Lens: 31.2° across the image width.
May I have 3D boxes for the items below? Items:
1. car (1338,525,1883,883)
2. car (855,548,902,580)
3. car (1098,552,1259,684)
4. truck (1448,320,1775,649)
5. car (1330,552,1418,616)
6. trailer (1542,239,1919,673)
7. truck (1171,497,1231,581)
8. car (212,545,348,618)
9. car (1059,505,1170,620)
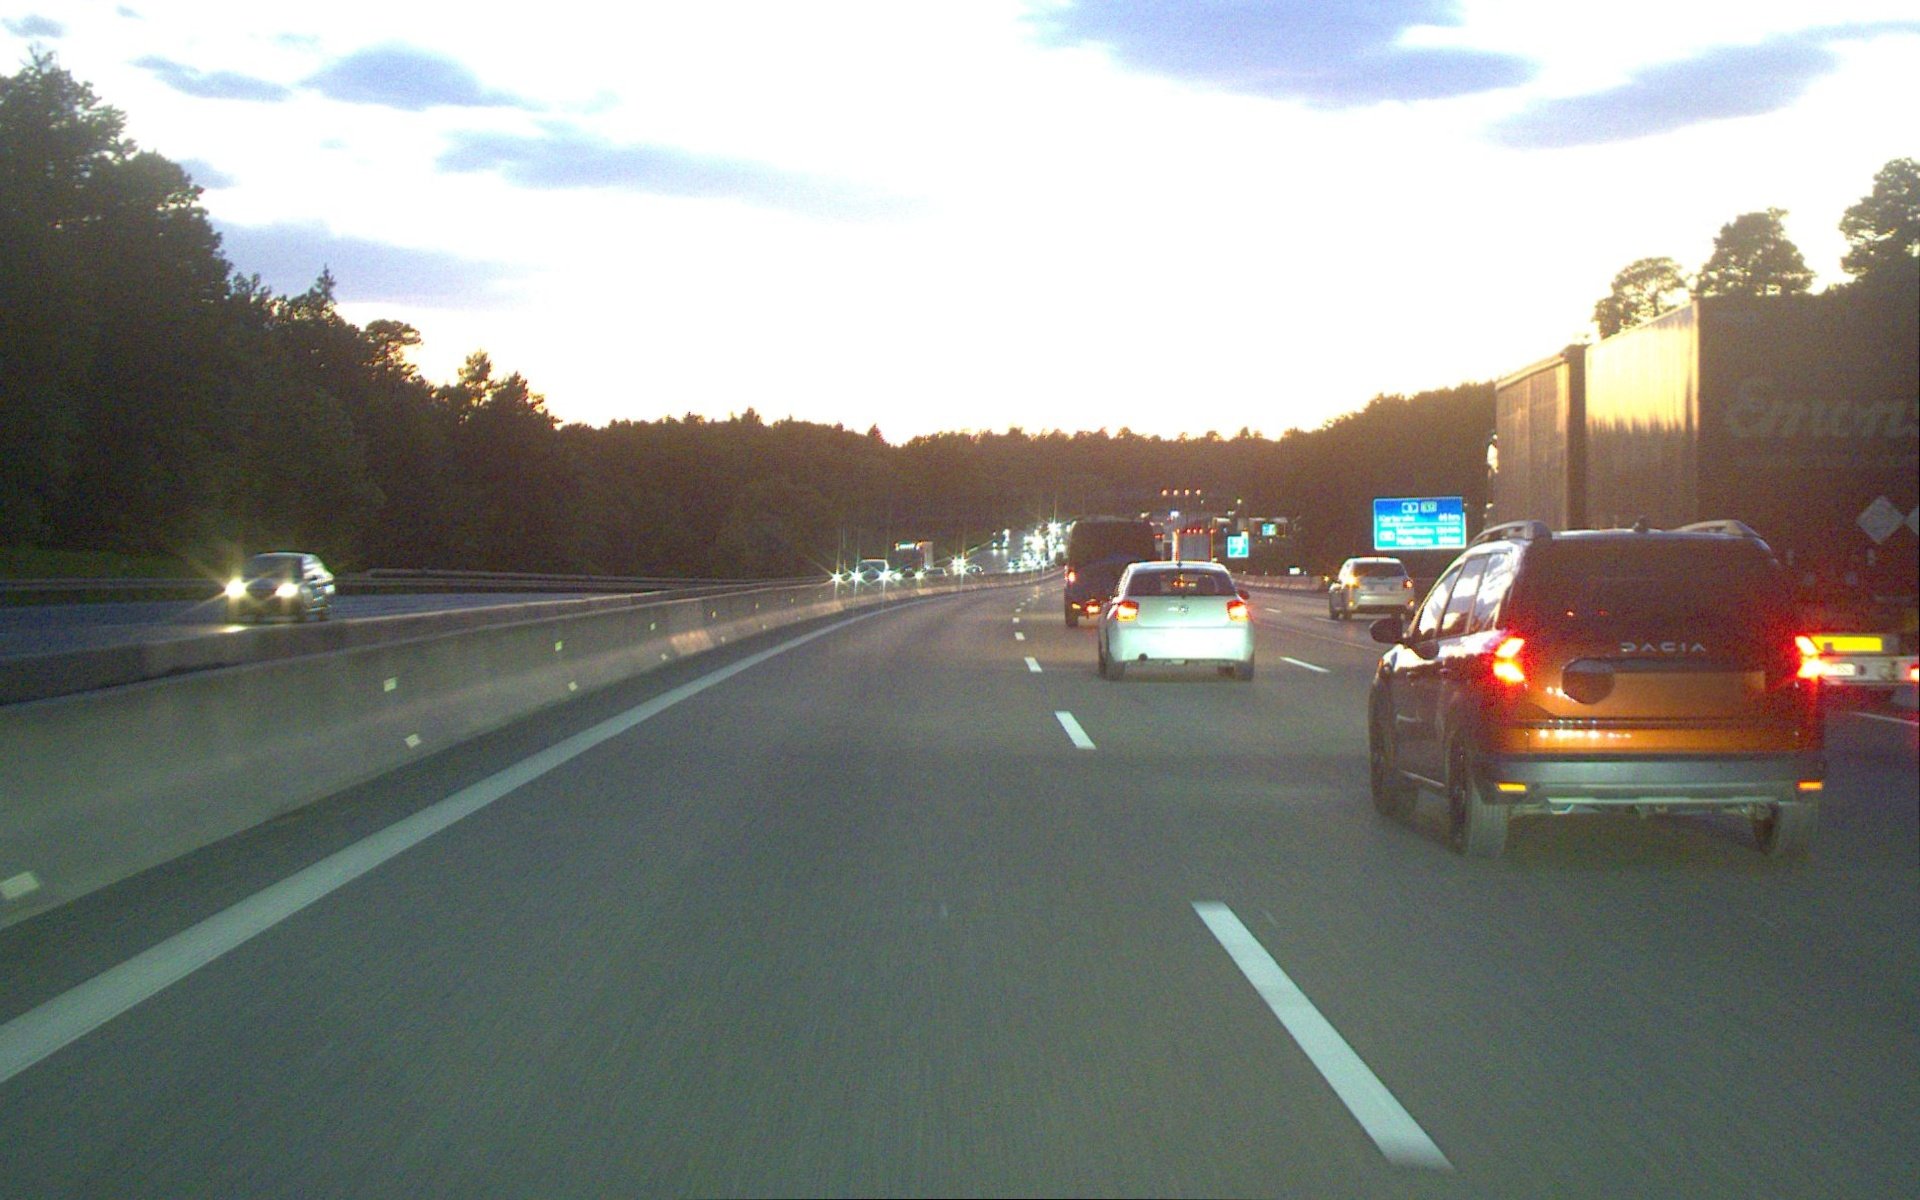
[{"bbox_3d":[3.282,0.426,18.395,1.903,1.638,5.053,0,1,-1],"label":"car"},{"bbox_3d":[-4.270,-1.886,180.355,1.994,1.633,5.110,1,1,4],"label":"car"},{"bbox_3d":[2.625,0.184,42.017,1.859,1.437,3.720,0,2,2],"label":"car"},{"bbox_3d":[8.862,-1.481,48.147,2.885,4.086,10.831,0,0,2],"label":"truck"},{"bbox_3d":[10.127,-0.396,84.249,2.008,1.533,3.999,0,0,5],"label":"car"},{"bbox_3d":[8.523,-1.403,37.550,2.907,4.086,10.357,0,0,2],"label":"trailer"},{"bbox_3d":[17.356,-4.329,248.124,4.150,5.836,14.295,0,0,3],"label":"truck"},{"bbox_3d":[-14.816,-0.431,75.126,1.842,1.458,4.776,1,1,2],"label":"car"},{"bbox_3d":[3.419,-0.807,75.186,2.166,2.410,5.563,0,0,5],"label":"car"}]
